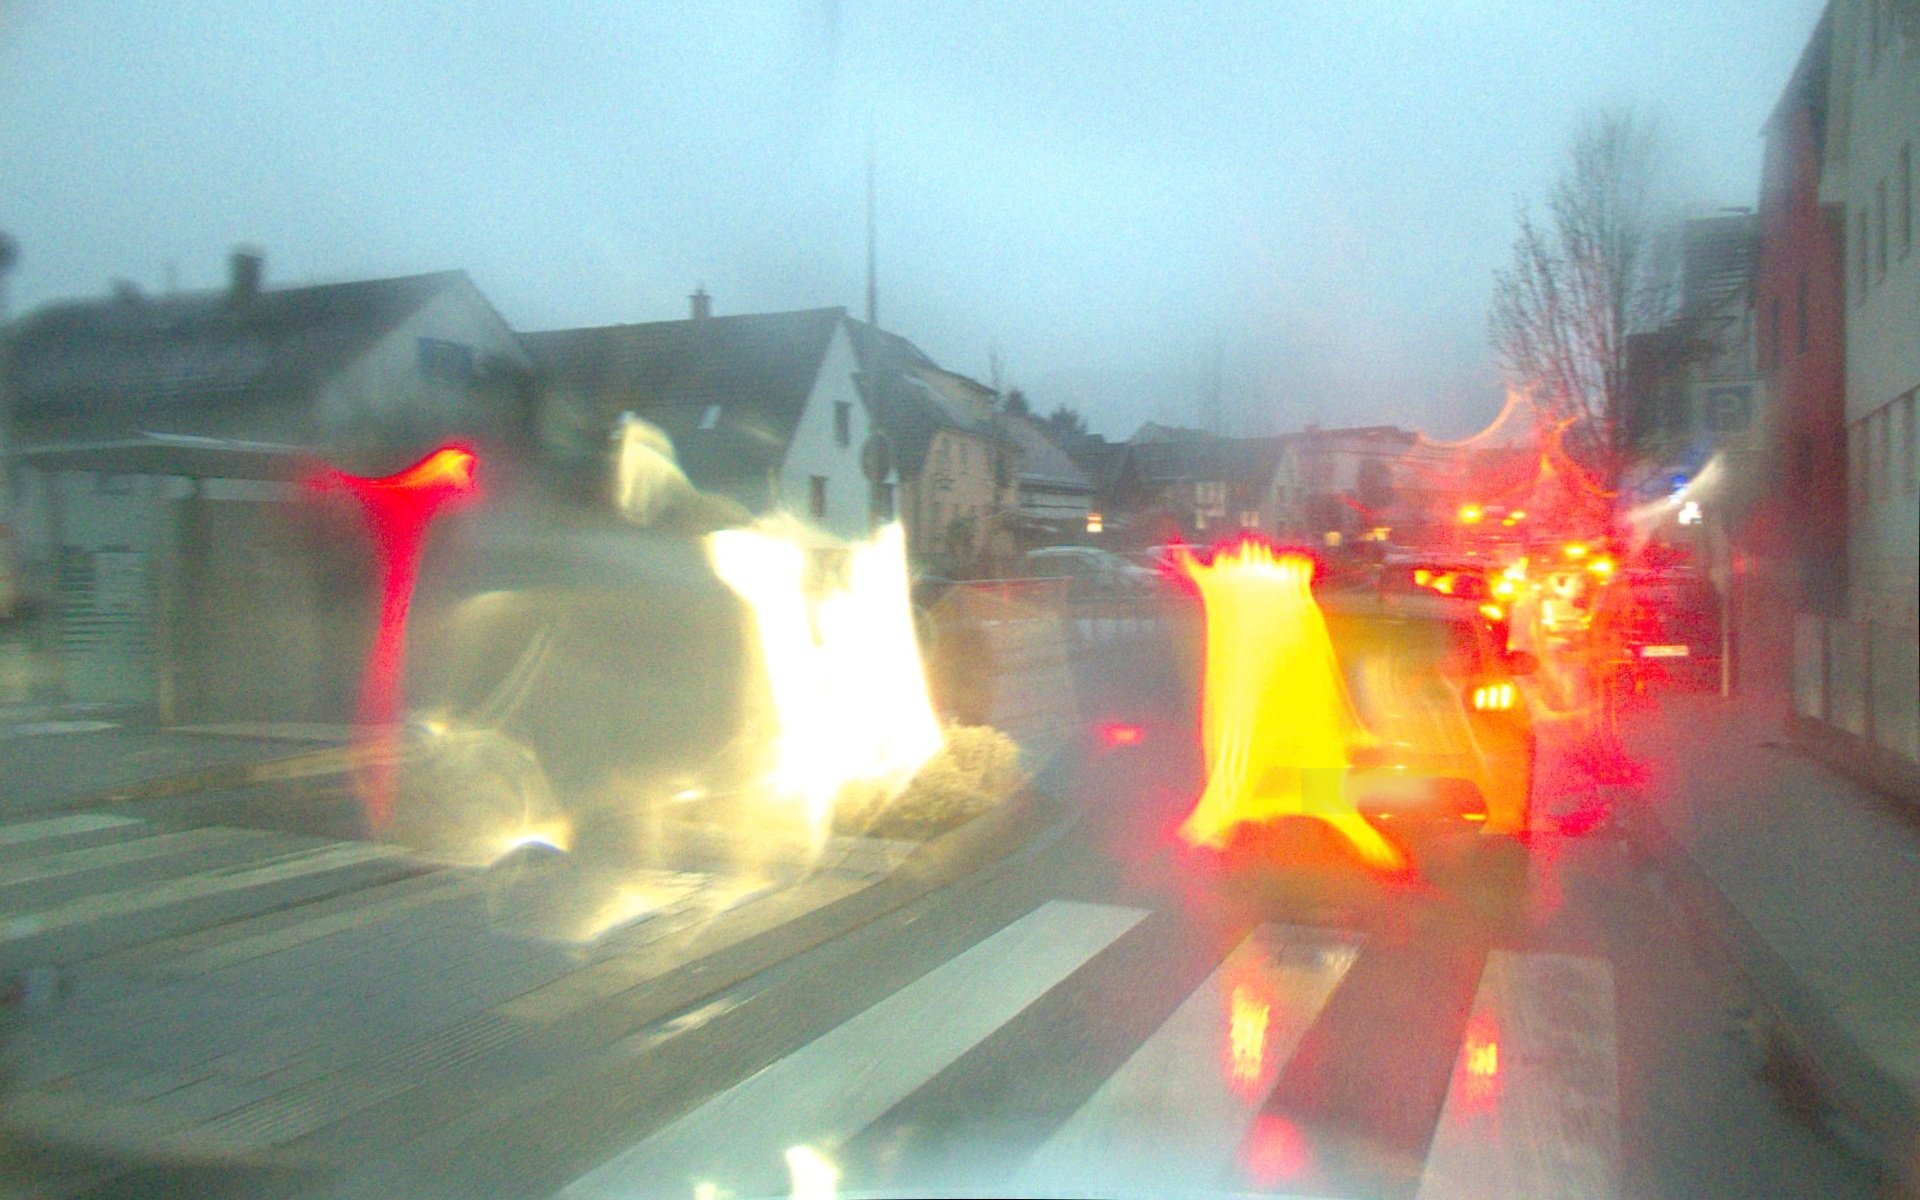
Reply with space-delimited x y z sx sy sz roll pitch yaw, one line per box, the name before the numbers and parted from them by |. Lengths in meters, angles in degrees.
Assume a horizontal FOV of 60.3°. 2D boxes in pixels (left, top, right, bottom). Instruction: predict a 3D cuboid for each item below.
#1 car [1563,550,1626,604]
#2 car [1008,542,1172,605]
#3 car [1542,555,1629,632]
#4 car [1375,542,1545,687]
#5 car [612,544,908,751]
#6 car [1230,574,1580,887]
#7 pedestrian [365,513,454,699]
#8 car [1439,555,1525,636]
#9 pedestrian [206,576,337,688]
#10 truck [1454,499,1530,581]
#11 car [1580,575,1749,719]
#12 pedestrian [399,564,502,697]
car | 18.753 -0.710 48.983 1.655 1.492 3.721 0 2 19
car | 3.585 -0.745 45.474 4.216 1.668 1.848 0 2 15
car | 13.296 -0.175 35.287 1.655 1.492 3.721 0 2 19
car | 6.501 0.104 21.229 1.876 1.643 3.952 0 2 20
car | -1.629 0.302 14.895 1.703 1.595 4.065 0 2 7
car | 2.690 0.606 10.223 1.673 1.446 4.017 1 2 14
pedestrian | -5.563 0.049 16.746 0.714 1.849 0.530 0 1 -4
car | 11.705 -0.159 36.962 1.686 1.660 4.002 0 2 20
pedestrian | -6.624 0.294 15.937 0.843 1.028 0.812 1 2 16
truck | 20.985 -2.356 65.071 2.658 3.062 5.995 0 2 19
car | 9.034 0.522 21.465 1.773 1.598 3.852 0 2 19
pedestrian | -5.441 0.311 17.682 0.767 1.371 0.717 1 1 19
